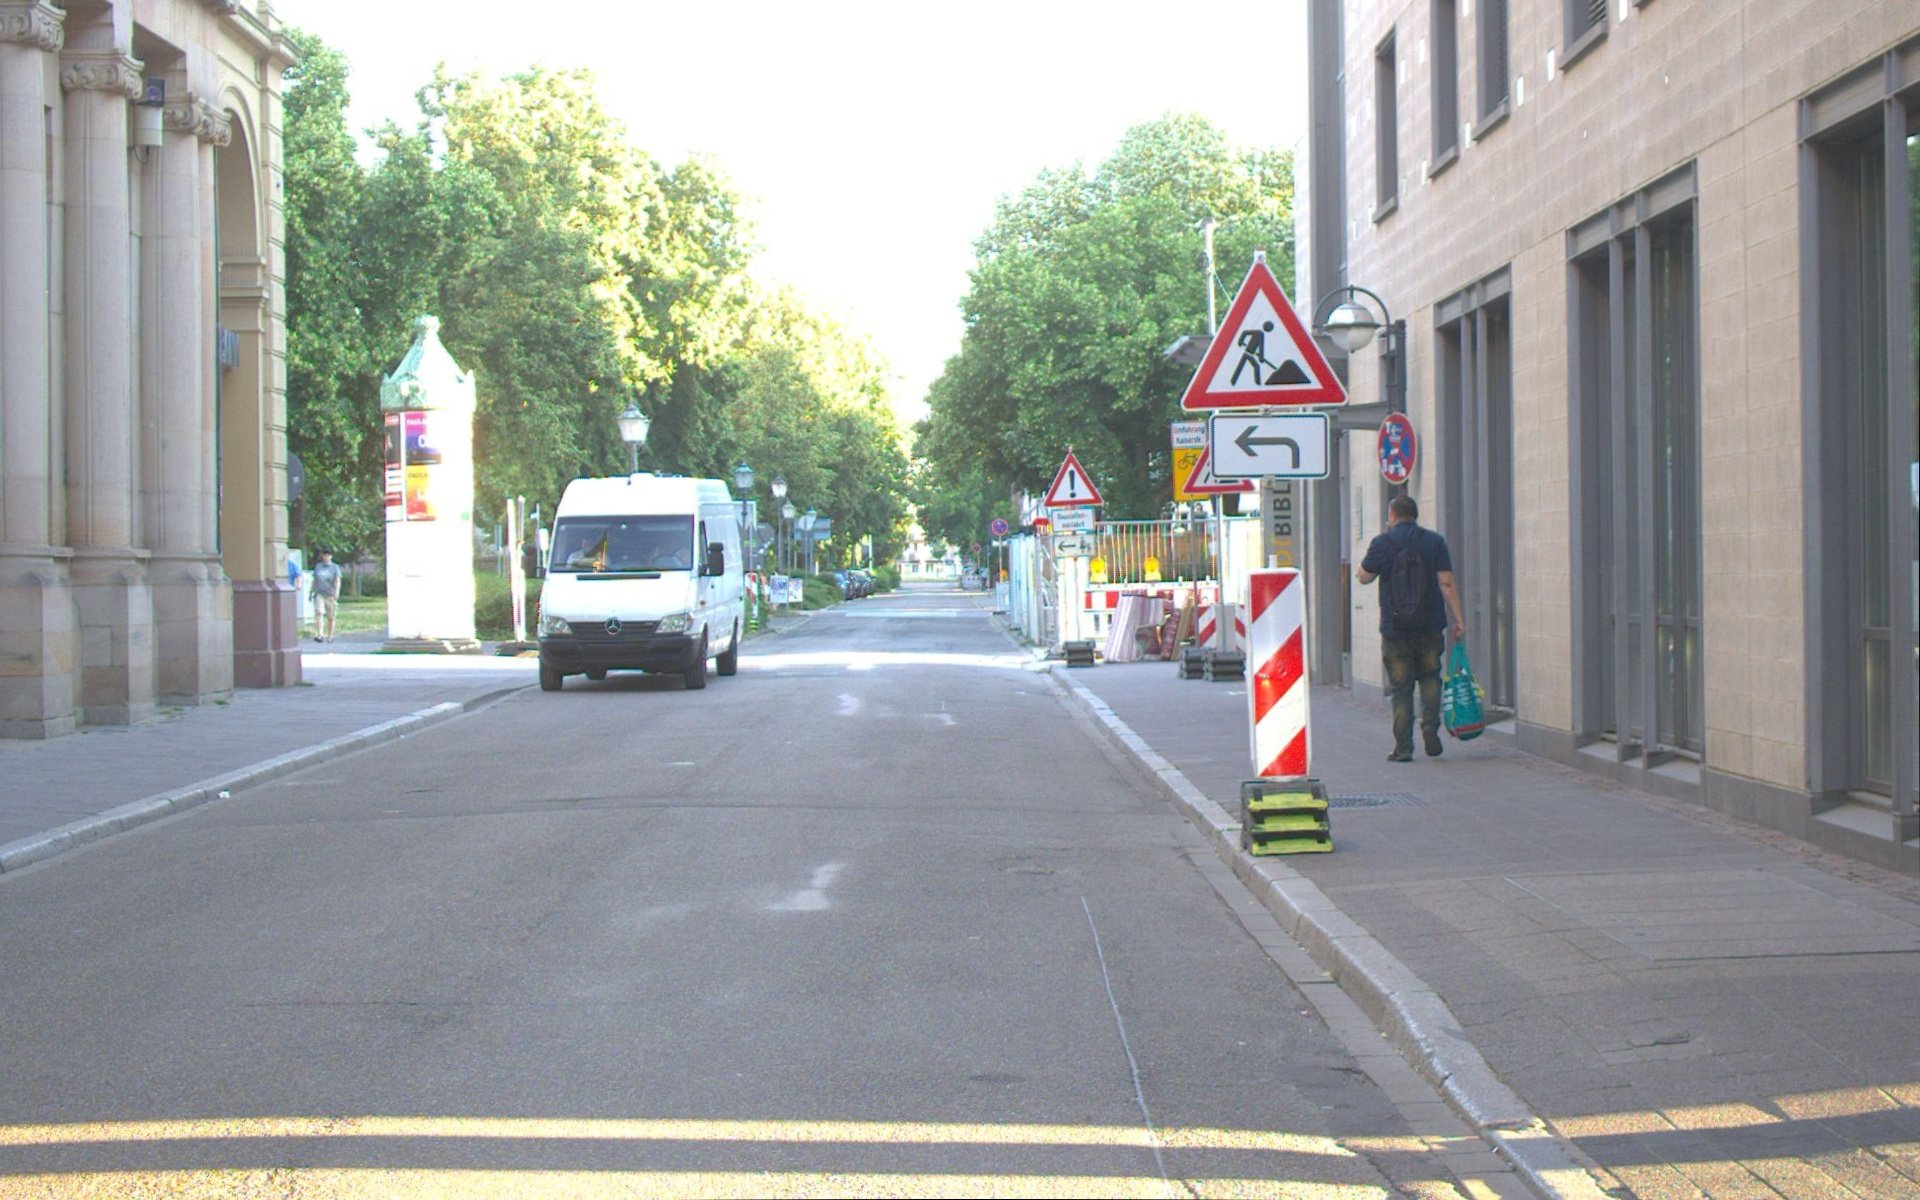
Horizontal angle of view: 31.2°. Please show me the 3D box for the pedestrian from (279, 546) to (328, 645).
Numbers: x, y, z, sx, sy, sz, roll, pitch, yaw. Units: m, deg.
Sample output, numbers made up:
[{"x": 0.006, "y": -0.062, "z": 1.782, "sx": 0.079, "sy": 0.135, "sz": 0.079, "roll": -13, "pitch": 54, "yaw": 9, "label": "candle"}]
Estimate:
[{"x": -12.018, "y": -0.088, "z": 62.934, "sx": 0.849, "sy": 1.801, "sz": 0.664, "roll": 0, "pitch": 1, "yaw": -13, "label": "pedestrian"}]

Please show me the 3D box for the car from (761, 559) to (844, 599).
[{"x": -7.379, "y": -0.986, "z": 160.989, "sx": 3.564, "sy": 1.777, "sz": 1.789, "roll": -1, "pitch": 0, "yaw": 9, "label": "car"}]

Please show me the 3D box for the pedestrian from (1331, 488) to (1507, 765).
[{"x": 3.086, "y": 0.174, "z": 23.195, "sx": 1.000, "sy": 1.797, "sz": 0.882, "roll": -2, "pitch": 0, "yaw": -1, "label": "pedestrian"}]

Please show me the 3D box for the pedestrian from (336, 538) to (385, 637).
[{"x": -11.034, "y": -0.230, "z": 63.234, "sx": 0.849, "sy": 1.801, "sz": 0.664, "roll": 0, "pitch": 1, "yaw": -13, "label": "pedestrian"}]

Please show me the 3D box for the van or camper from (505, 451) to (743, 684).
[{"x": -3.945, "y": -0.417, "z": 41.501, "sx": 2.219, "sy": 2.576, "sz": 6.372, "roll": -1, "pitch": 1, "yaw": 0, "label": "van or camper"}]
